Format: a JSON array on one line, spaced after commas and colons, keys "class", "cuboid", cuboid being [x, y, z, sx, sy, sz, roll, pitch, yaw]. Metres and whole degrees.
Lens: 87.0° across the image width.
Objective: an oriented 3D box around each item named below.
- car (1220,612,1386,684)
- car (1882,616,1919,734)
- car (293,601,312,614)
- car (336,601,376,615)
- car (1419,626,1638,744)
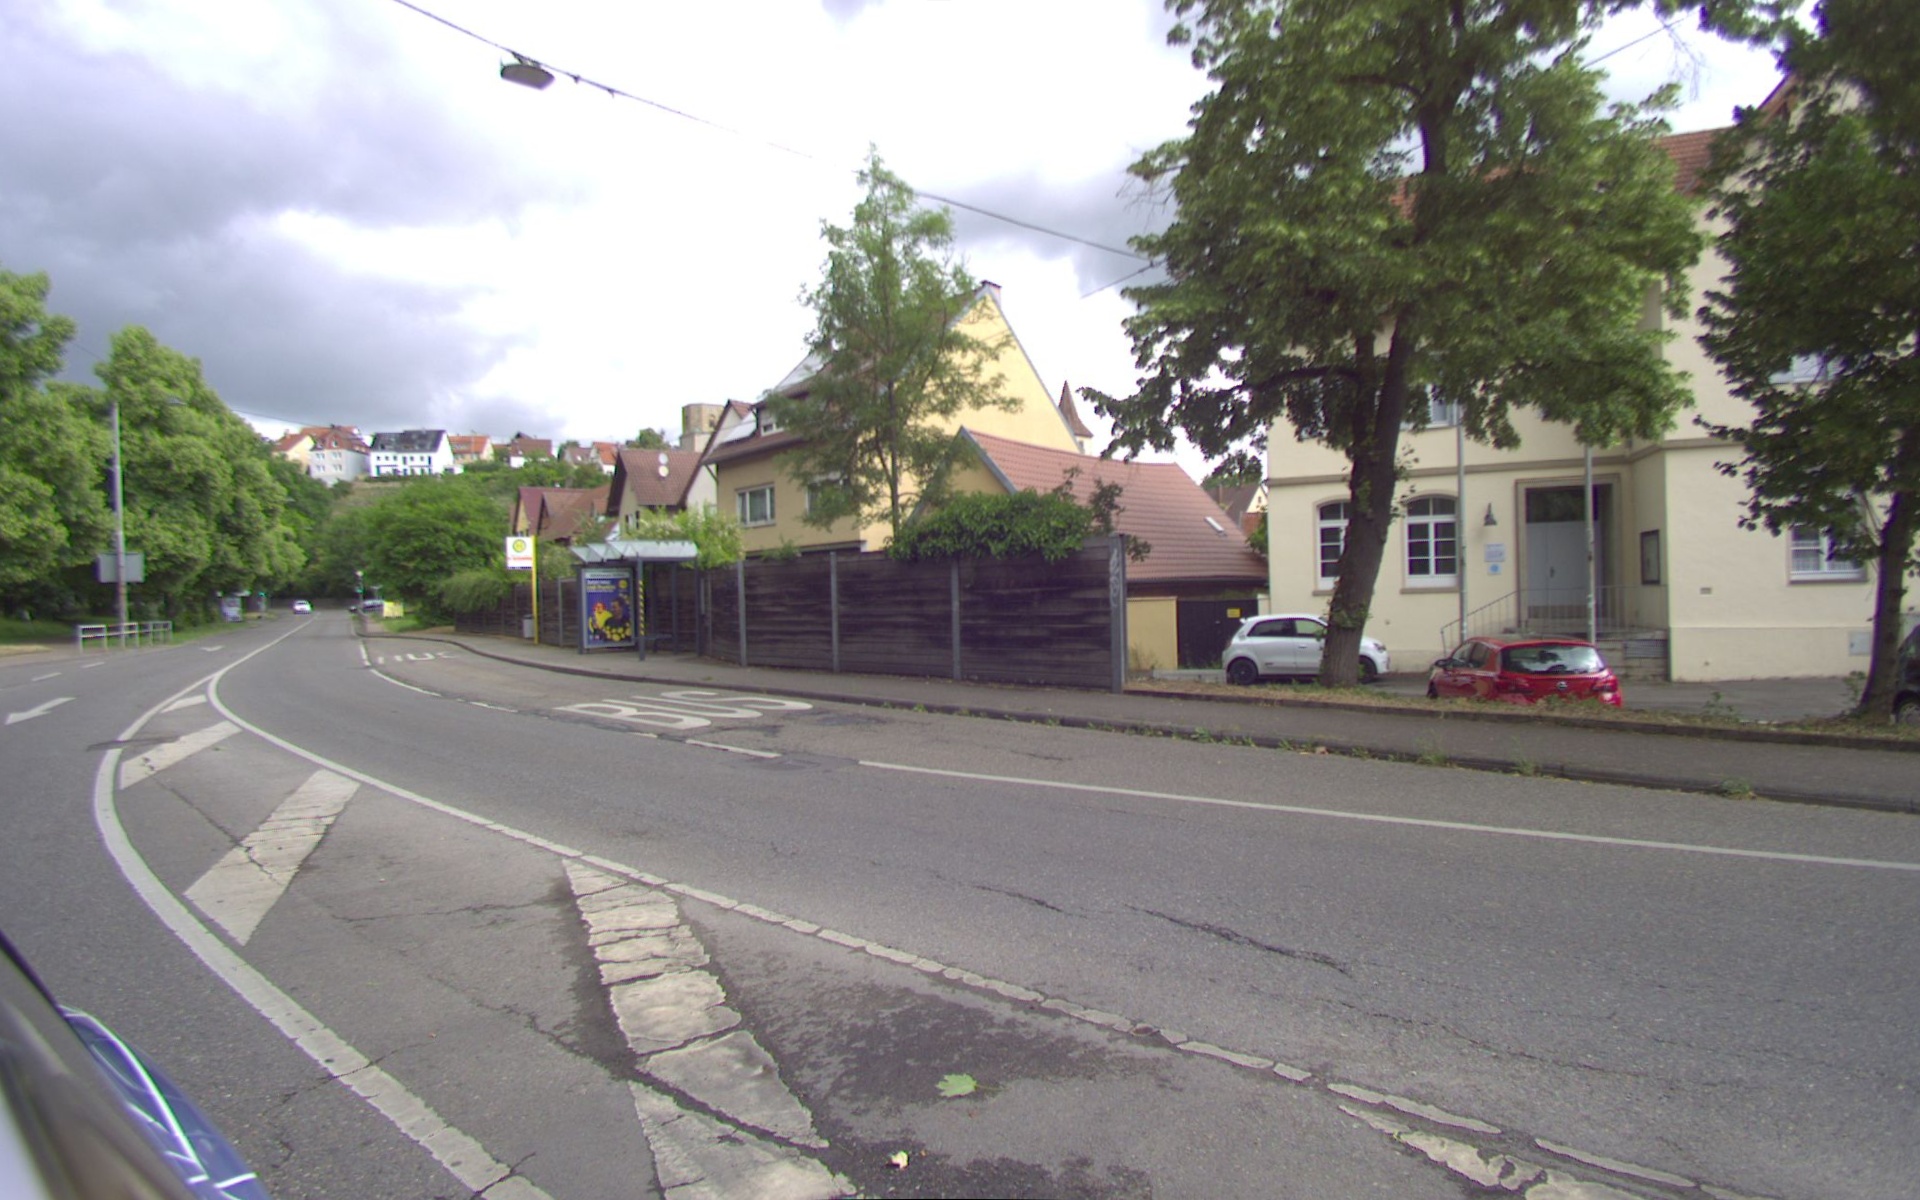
[{"class": "car", "cuboid": [7.725, 1.054, 22.898, 3.411, 1.490, 1.600, -1, 0, 21]}, {"class": "car", "cuboid": [12.638, 0.932, 11.316, 1.626, 1.450, 3.567, -1, 0, 7]}, {"class": "car", "cuboid": [-80.361, 0.976, 123.716, 1.736, 1.536, 3.691, -1, 0, -37]}, {"class": "car", "cuboid": [-69.676, 0.899, 116.774, 1.761, 1.596, 3.639, -1, 0, 36]}, {"class": "car", "cuboid": [8.148, 1.144, 14.890, 1.644, 1.393, 3.708, -1, 0, 10]}]
